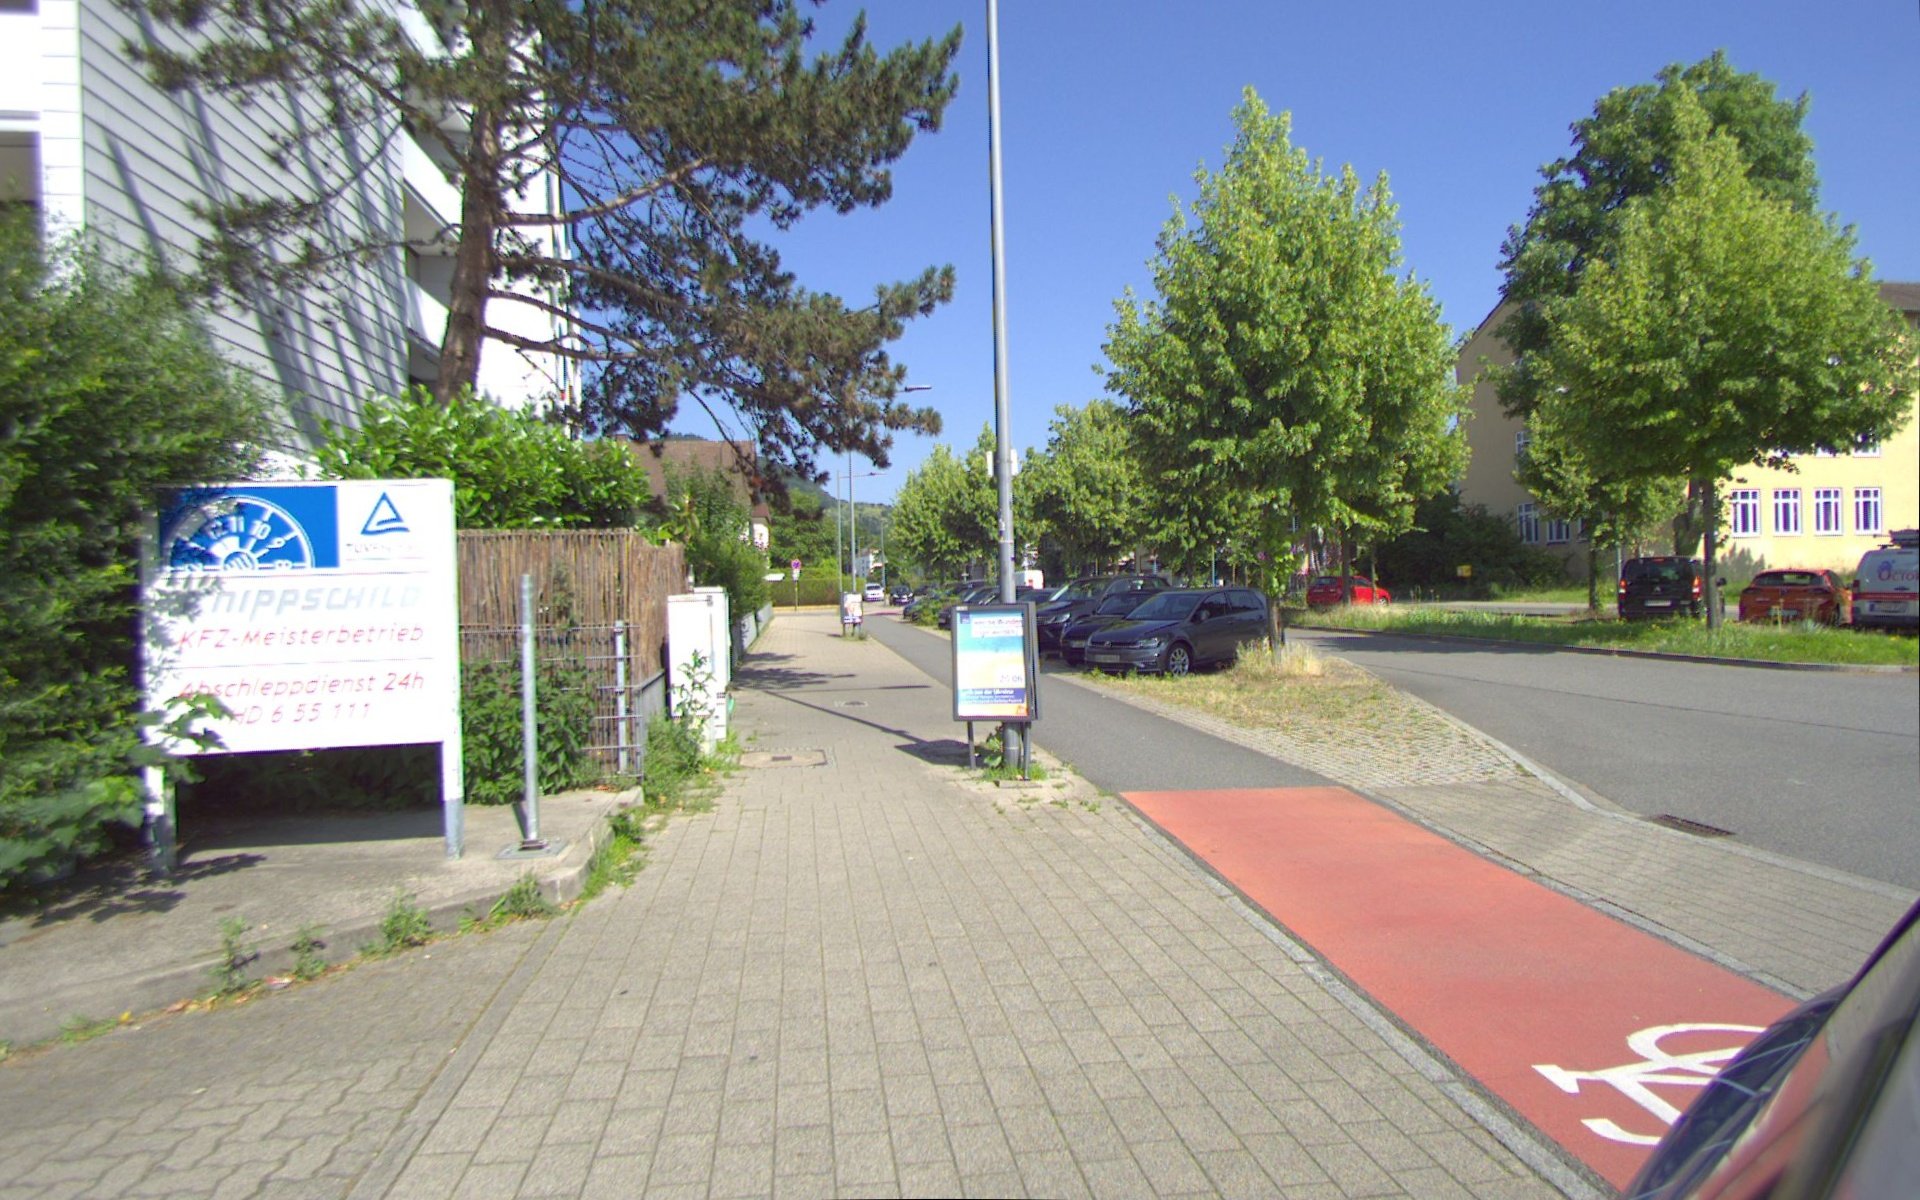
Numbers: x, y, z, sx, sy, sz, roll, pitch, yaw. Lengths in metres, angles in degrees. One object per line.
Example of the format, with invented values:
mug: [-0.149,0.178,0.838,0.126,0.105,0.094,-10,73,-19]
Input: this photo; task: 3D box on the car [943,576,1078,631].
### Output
car: [1.626,0.071,31.472,4.154,1.500,1.702,-3,1,-42]

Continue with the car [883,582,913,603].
car: [-4.624,-0.568,75.029,1.670,1.500,4.234,-2,1,-11]

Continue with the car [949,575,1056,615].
car: [1.773,-0.232,42.755,4.138,1.500,1.708,-2,1,-13]

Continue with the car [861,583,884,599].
car: [-8.650,-0.892,99.892,1.670,1.500,4.234,-2,1,-11]

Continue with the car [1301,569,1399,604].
car: [16.230,-0.575,42.102,3.650,1.408,1.884,-1,1,-27]

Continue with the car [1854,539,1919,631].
car: [19.896,-0.320,20.570,4.149,1.744,1.880,-1,1,-38]

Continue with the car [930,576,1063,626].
car: [1.238,0.003,34.348,4.139,1.500,1.708,-2,1,-25]

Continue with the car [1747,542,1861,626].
car: [19.431,-0.372,23.253,1.874,1.744,4.162,1,1,42]

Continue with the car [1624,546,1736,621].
car: [18.355,-0.421,25.721,1.874,1.744,4.162,1,1,42]

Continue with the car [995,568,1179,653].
car: [2.957,0.169,23.018,4.328,1.741,1.702,-2,1,-41]

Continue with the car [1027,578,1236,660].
car: [3.564,0.326,20.783,4.146,1.500,1.881,-1,1,-36]

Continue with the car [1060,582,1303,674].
car: [3.941,0.405,17.742,4.146,1.435,1.881,-1,1,-36]

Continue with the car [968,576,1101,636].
car: [2.184,0.133,28.704,1.696,1.500,4.168,-1,1,38]

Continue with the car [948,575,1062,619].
car: [1.747,-0.136,39.739,4.138,1.500,1.708,-2,1,-13]
